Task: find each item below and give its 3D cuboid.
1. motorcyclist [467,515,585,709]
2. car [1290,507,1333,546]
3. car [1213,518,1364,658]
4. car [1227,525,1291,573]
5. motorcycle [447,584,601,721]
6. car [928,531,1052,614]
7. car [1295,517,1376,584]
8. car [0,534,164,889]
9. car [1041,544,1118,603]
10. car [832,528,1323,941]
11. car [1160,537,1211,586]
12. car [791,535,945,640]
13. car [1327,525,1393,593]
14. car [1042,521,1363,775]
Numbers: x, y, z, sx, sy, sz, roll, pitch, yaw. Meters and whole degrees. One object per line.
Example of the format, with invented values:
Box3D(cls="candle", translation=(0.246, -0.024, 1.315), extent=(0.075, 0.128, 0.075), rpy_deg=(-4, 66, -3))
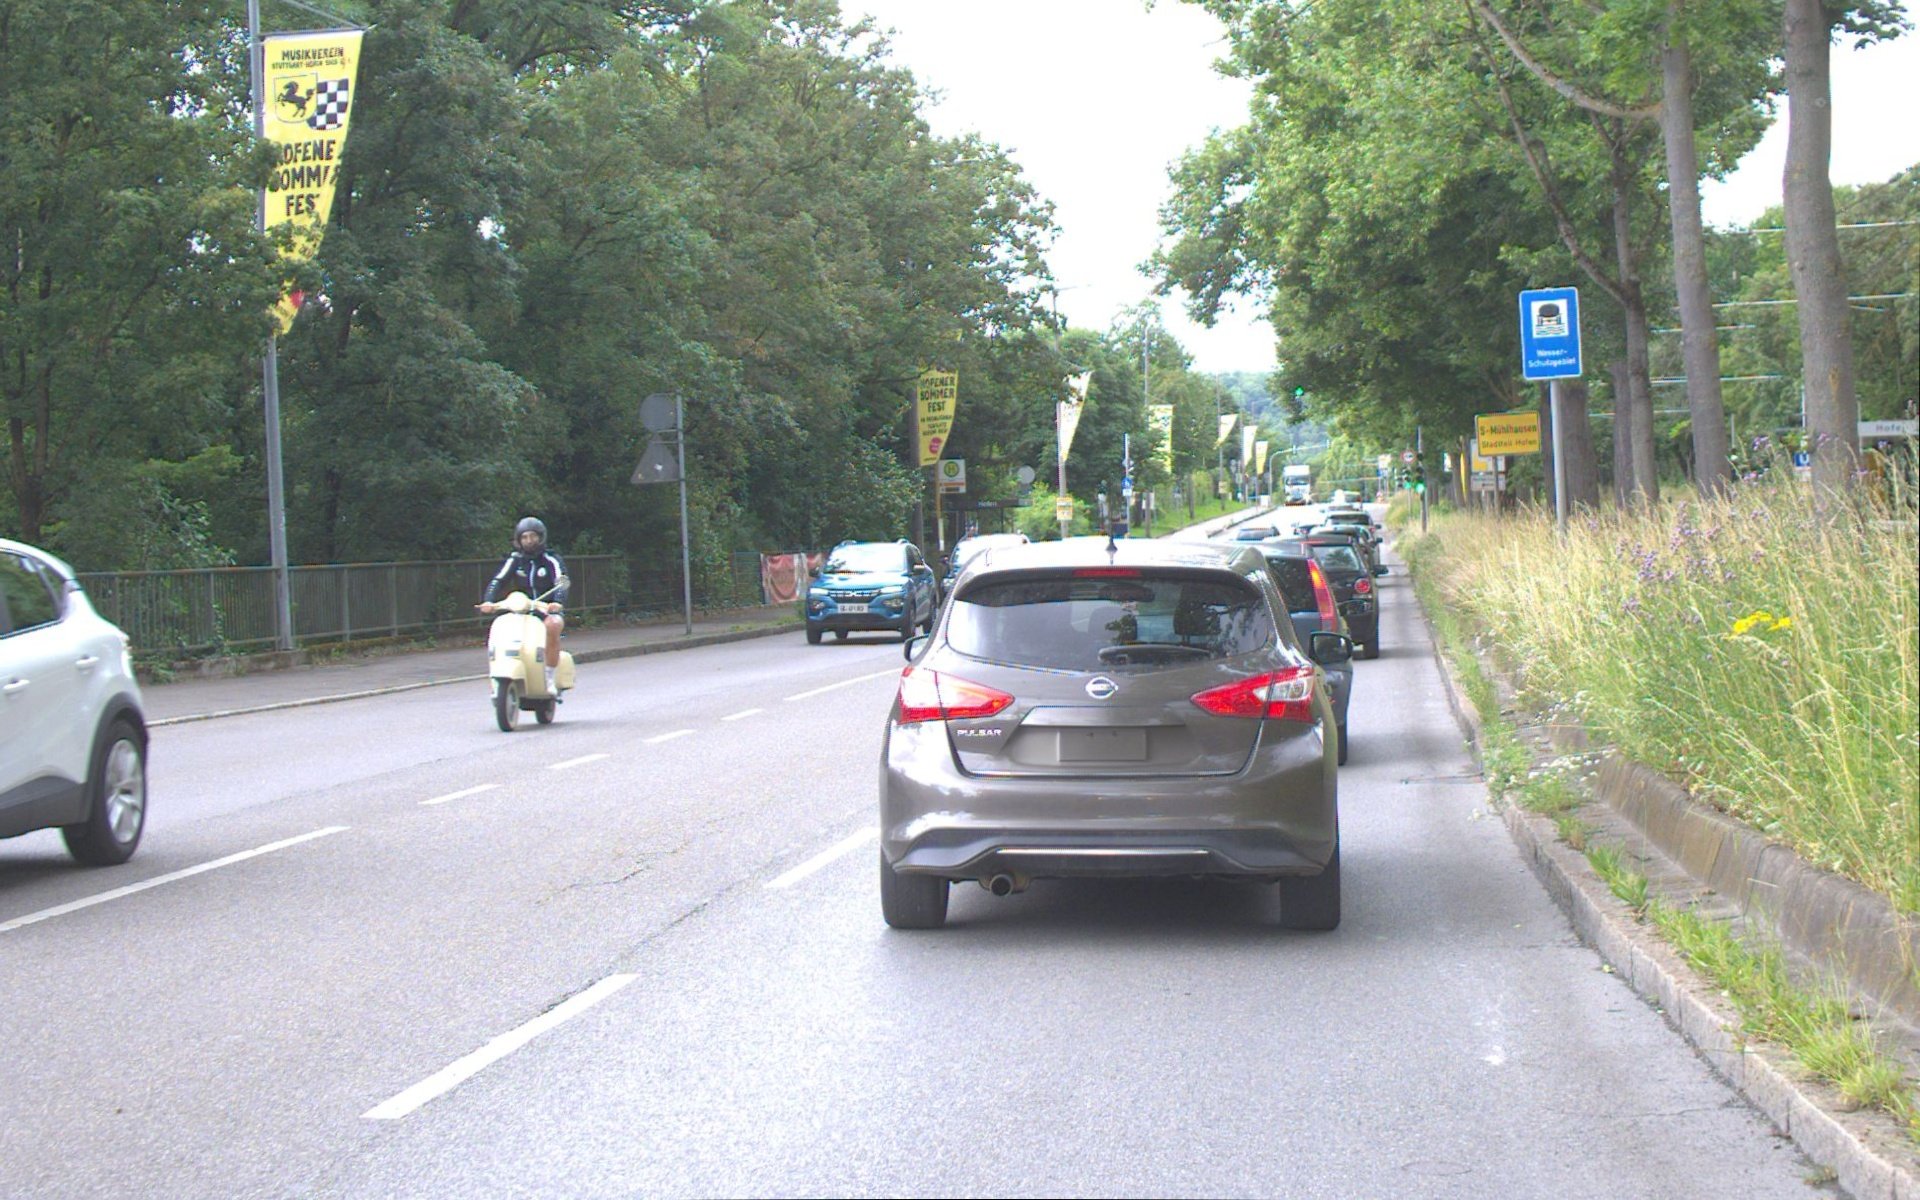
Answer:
Box3D(cls="motorcyclist", translation=(-3.498, 0.089, 27.762), extent=(0.745, 1.533, 0.790), rpy_deg=(0, 1, 8))
Box3D(cls="car", translation=(14.498, -3.028, 141.814), extent=(1.719, 1.396, 3.724), rpy_deg=(-2, -1, 6))
Box3D(cls="car", translation=(3.881, -0.147, 41.025), extent=(1.578, 1.533, 4.000), rpy_deg=(-2, 0, 3))
Box3D(cls="car", translation=(9.795, -1.659, 112.428), extent=(1.852, 1.481, 4.419), rpy_deg=(-1, 0, 8))
Box3D(cls="motorcycle", translation=(-3.498, 0.405, 27.727), extent=(0.745, 1.030, 1.887), rpy_deg=(0, 1, 8))
Box3D(cls="car", translation=(0.594, -0.543, 64.325), extent=(1.818, 1.457, 3.999), rpy_deg=(-1, 1, 7))
Box3D(cls="car", translation=(8.953, -1.155, 81.779), extent=(1.805, 1.535, 3.999), rpy_deg=(1, 0, 7))
Box3D(cls="car", translation=(-4.870, 0.467, 14.402), extent=(1.767, 1.474, 3.999), rpy_deg=(0, 1, 6))
Box3D(cls="car", translation=(3.182, -0.687, 90.942), extent=(1.752, 1.415, 3.999), rpy_deg=(-2, -1, 6))
Box3D(cls="car", translation=(0.522, 0.495, 14.505), extent=(1.775, 1.489, 3.999), rpy_deg=(0, 0, 3))
Box3D(cls="car", translation=(8.392, -1.422, 127.807), extent=(1.719, 1.687, 3.724), rpy_deg=(-2, -1, 6))
Box3D(cls="car", translation=(-1.342, -0.158, 51.640), extent=(1.721, 1.437, 3.999), rpy_deg=(-2, -1, 7))
Box3D(cls="car", translation=(10.998, -1.108, 94.585), extent=(1.719, 1.687, 3.999), rpy_deg=(-2, -1, 6))
Box3D(cls="car", translation=(1.559, 0.309, 23.446), extent=(1.893, 1.568, 4.000), rpy_deg=(0, 0, 0))
